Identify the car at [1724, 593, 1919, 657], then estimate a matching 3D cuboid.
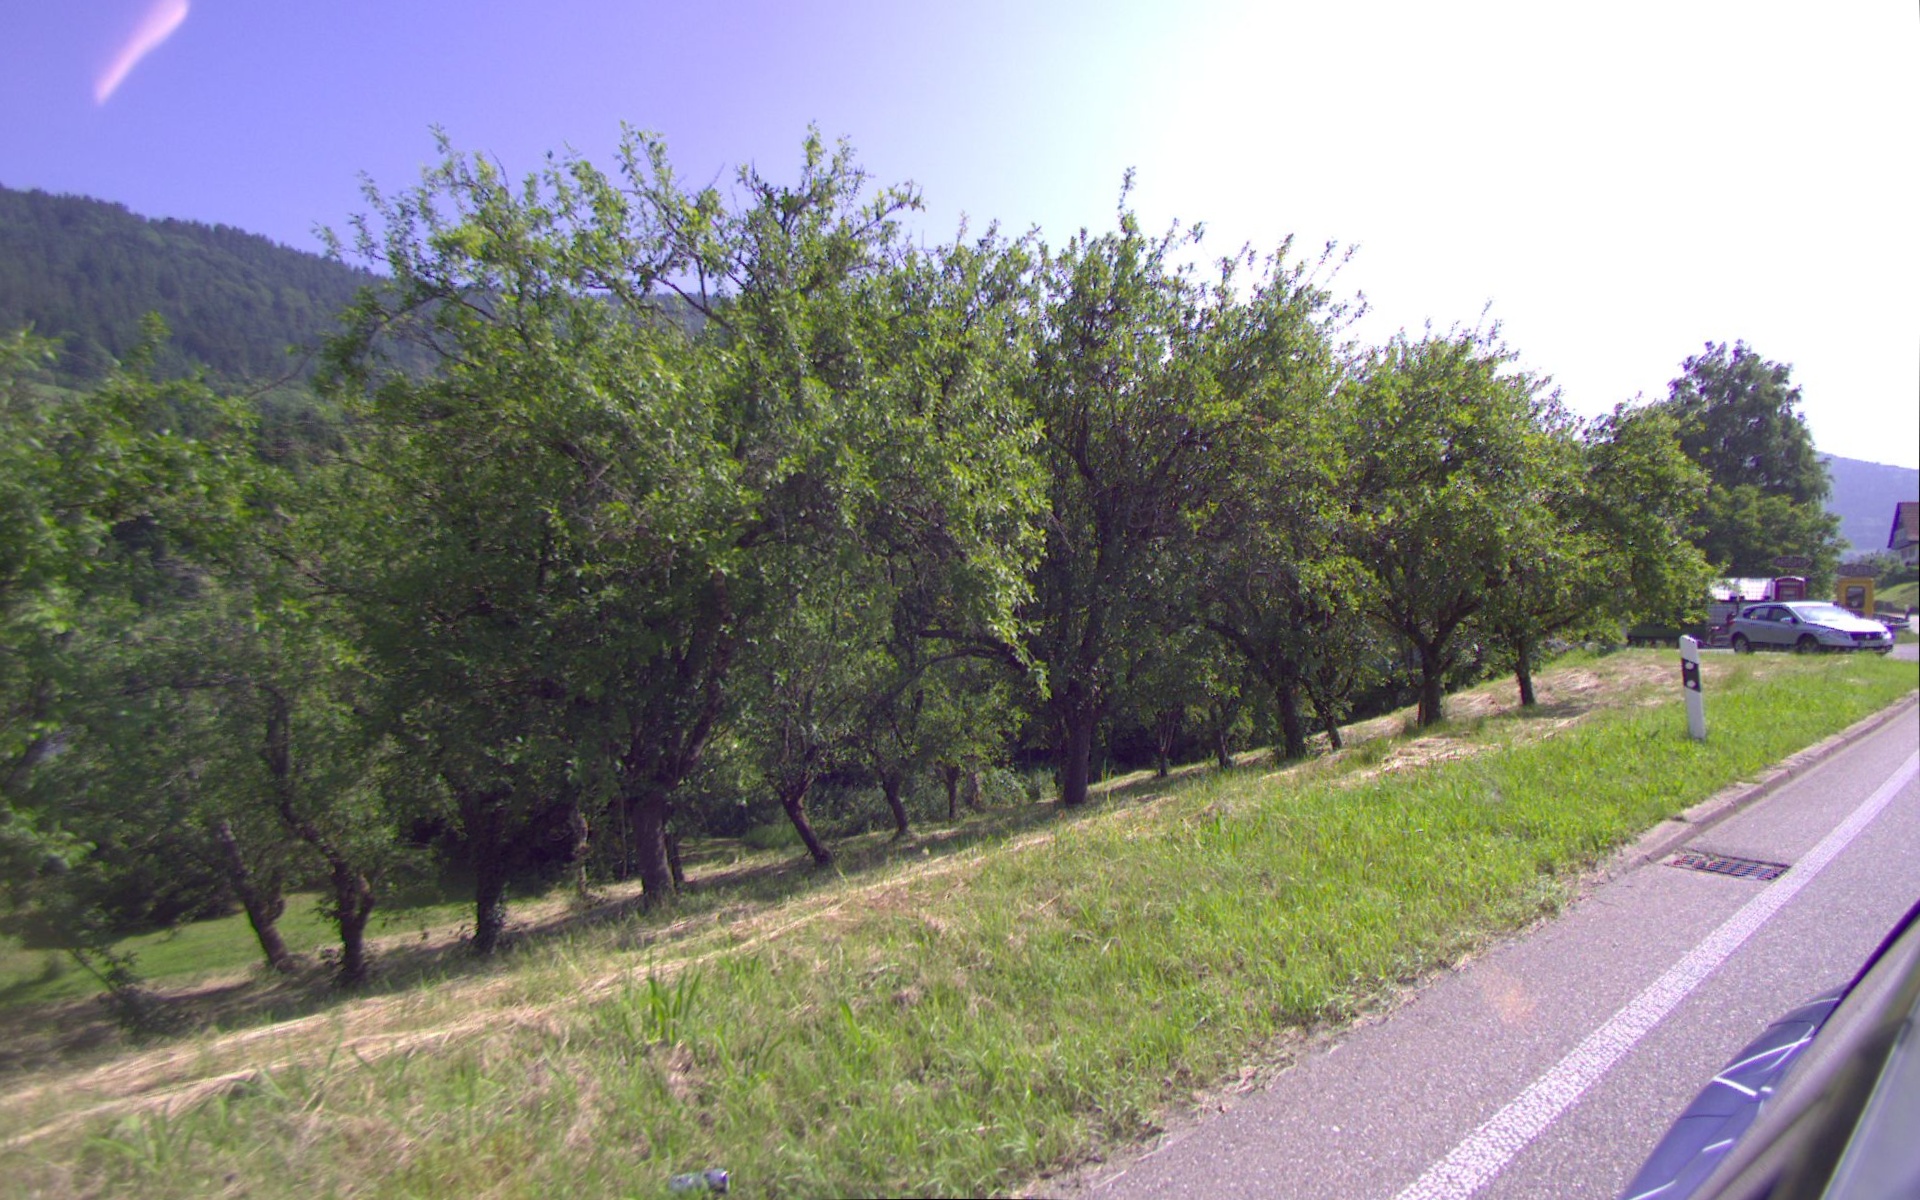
[{"bbox_3d":[23.474,0.686,27.698,1.871,1.591,4.455,-1,-2,4],"label":"car"}]
